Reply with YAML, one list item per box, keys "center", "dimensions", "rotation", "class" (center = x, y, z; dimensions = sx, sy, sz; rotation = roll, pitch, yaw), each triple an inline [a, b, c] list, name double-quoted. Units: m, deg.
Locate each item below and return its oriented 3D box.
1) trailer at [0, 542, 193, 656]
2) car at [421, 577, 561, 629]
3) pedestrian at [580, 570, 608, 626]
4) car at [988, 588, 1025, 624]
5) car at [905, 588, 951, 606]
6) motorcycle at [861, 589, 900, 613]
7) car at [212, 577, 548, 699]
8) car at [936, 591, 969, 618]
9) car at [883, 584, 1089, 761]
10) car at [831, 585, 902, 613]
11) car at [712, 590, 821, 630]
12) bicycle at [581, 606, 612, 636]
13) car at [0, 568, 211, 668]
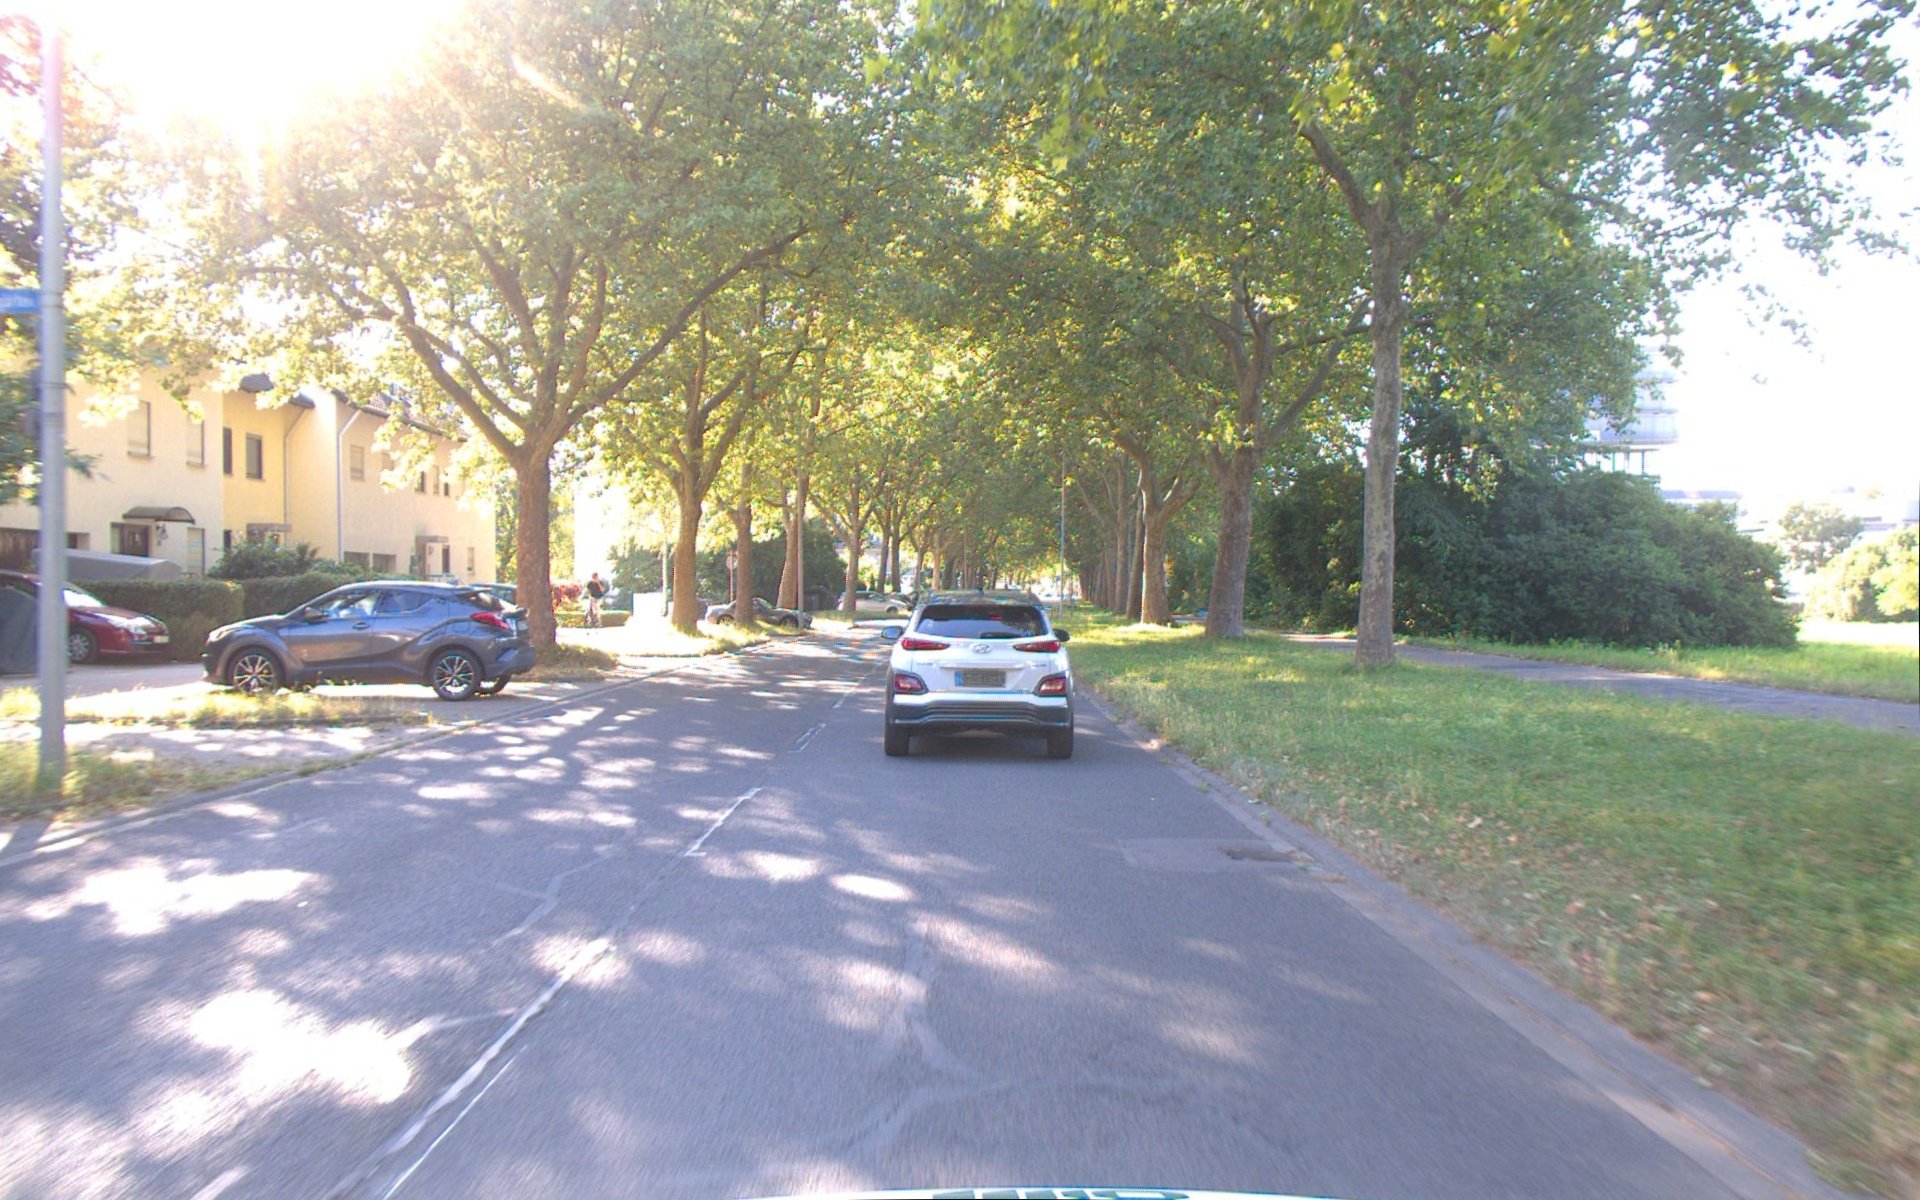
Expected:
- center: [-17.359, -0.044, 32.832]
  dimensions: [3.383, 1.959, 1.643]
  rotation: [4, 1, -1]
  class: "trailer"
- center: [-15.090, 0.097, 53.338]
  dimensions: [3.904, 1.489, 1.901]
  rotation: [2, 0, 1]
  class: "car"
- center: [-11.412, -0.062, 51.580]
  dimensions: [0.604, 1.746, 1.065]
  rotation: [0, 0, 1]
  class: "pedestrian"
- center: [2.275, 0.289, 80.988]
  dimensions: [1.642, 1.725, 3.744]
  rotation: [0, 0, -1]
  class: "car"
- center: [-2.800, -0.279, 145.929]
  dimensions: [3.904, 1.546, 1.810]
  rotation: [0, 0, 3]
  class: "car"
- center: [-4.822, 0.054, 100.694]
  dimensions: [2.337, 1.412, 0.648]
  rotation: [0, 1, -2]
  class: "motorcycle"
- center: [-7.764, 0.489, 22.420]
  dimensions: [3.908, 1.545, 1.816]
  rotation: [1, 0, -2]
  class: "car"
- center: [-0.414, 0.254, 97.928]
  dimensions: [1.747, 1.539, 3.839]
  rotation: [1, 0, 2]
  class: "car"
- center: [0.146, 0.651, 16.870]
  dimensions: [1.799, 1.583, 3.997]
  rotation: [1, 0, -3]
  class: "car"
- center: [-5.517, -0.042, 98.352]
  dimensions: [4.098, 1.612, 2.000]
  rotation: [1, 0, -1]
  class: "car"
- center: [-7.122, 0.368, 60.978]
  dimensions: [3.747, 1.339, 1.790]
  rotation: [2, 0, 1]
  class: "car"
- center: [-11.352, 0.657, 51.628]
  dimensions: [0.460, 0.895, 2.156]
  rotation: [0, 0, 1]
  class: "bicycle"
- center: [-16.011, 0.293, 29.937]
  dimensions: [3.906, 1.502, 2.000]
  rotation: [4, 0, 0]
  class: "car"
